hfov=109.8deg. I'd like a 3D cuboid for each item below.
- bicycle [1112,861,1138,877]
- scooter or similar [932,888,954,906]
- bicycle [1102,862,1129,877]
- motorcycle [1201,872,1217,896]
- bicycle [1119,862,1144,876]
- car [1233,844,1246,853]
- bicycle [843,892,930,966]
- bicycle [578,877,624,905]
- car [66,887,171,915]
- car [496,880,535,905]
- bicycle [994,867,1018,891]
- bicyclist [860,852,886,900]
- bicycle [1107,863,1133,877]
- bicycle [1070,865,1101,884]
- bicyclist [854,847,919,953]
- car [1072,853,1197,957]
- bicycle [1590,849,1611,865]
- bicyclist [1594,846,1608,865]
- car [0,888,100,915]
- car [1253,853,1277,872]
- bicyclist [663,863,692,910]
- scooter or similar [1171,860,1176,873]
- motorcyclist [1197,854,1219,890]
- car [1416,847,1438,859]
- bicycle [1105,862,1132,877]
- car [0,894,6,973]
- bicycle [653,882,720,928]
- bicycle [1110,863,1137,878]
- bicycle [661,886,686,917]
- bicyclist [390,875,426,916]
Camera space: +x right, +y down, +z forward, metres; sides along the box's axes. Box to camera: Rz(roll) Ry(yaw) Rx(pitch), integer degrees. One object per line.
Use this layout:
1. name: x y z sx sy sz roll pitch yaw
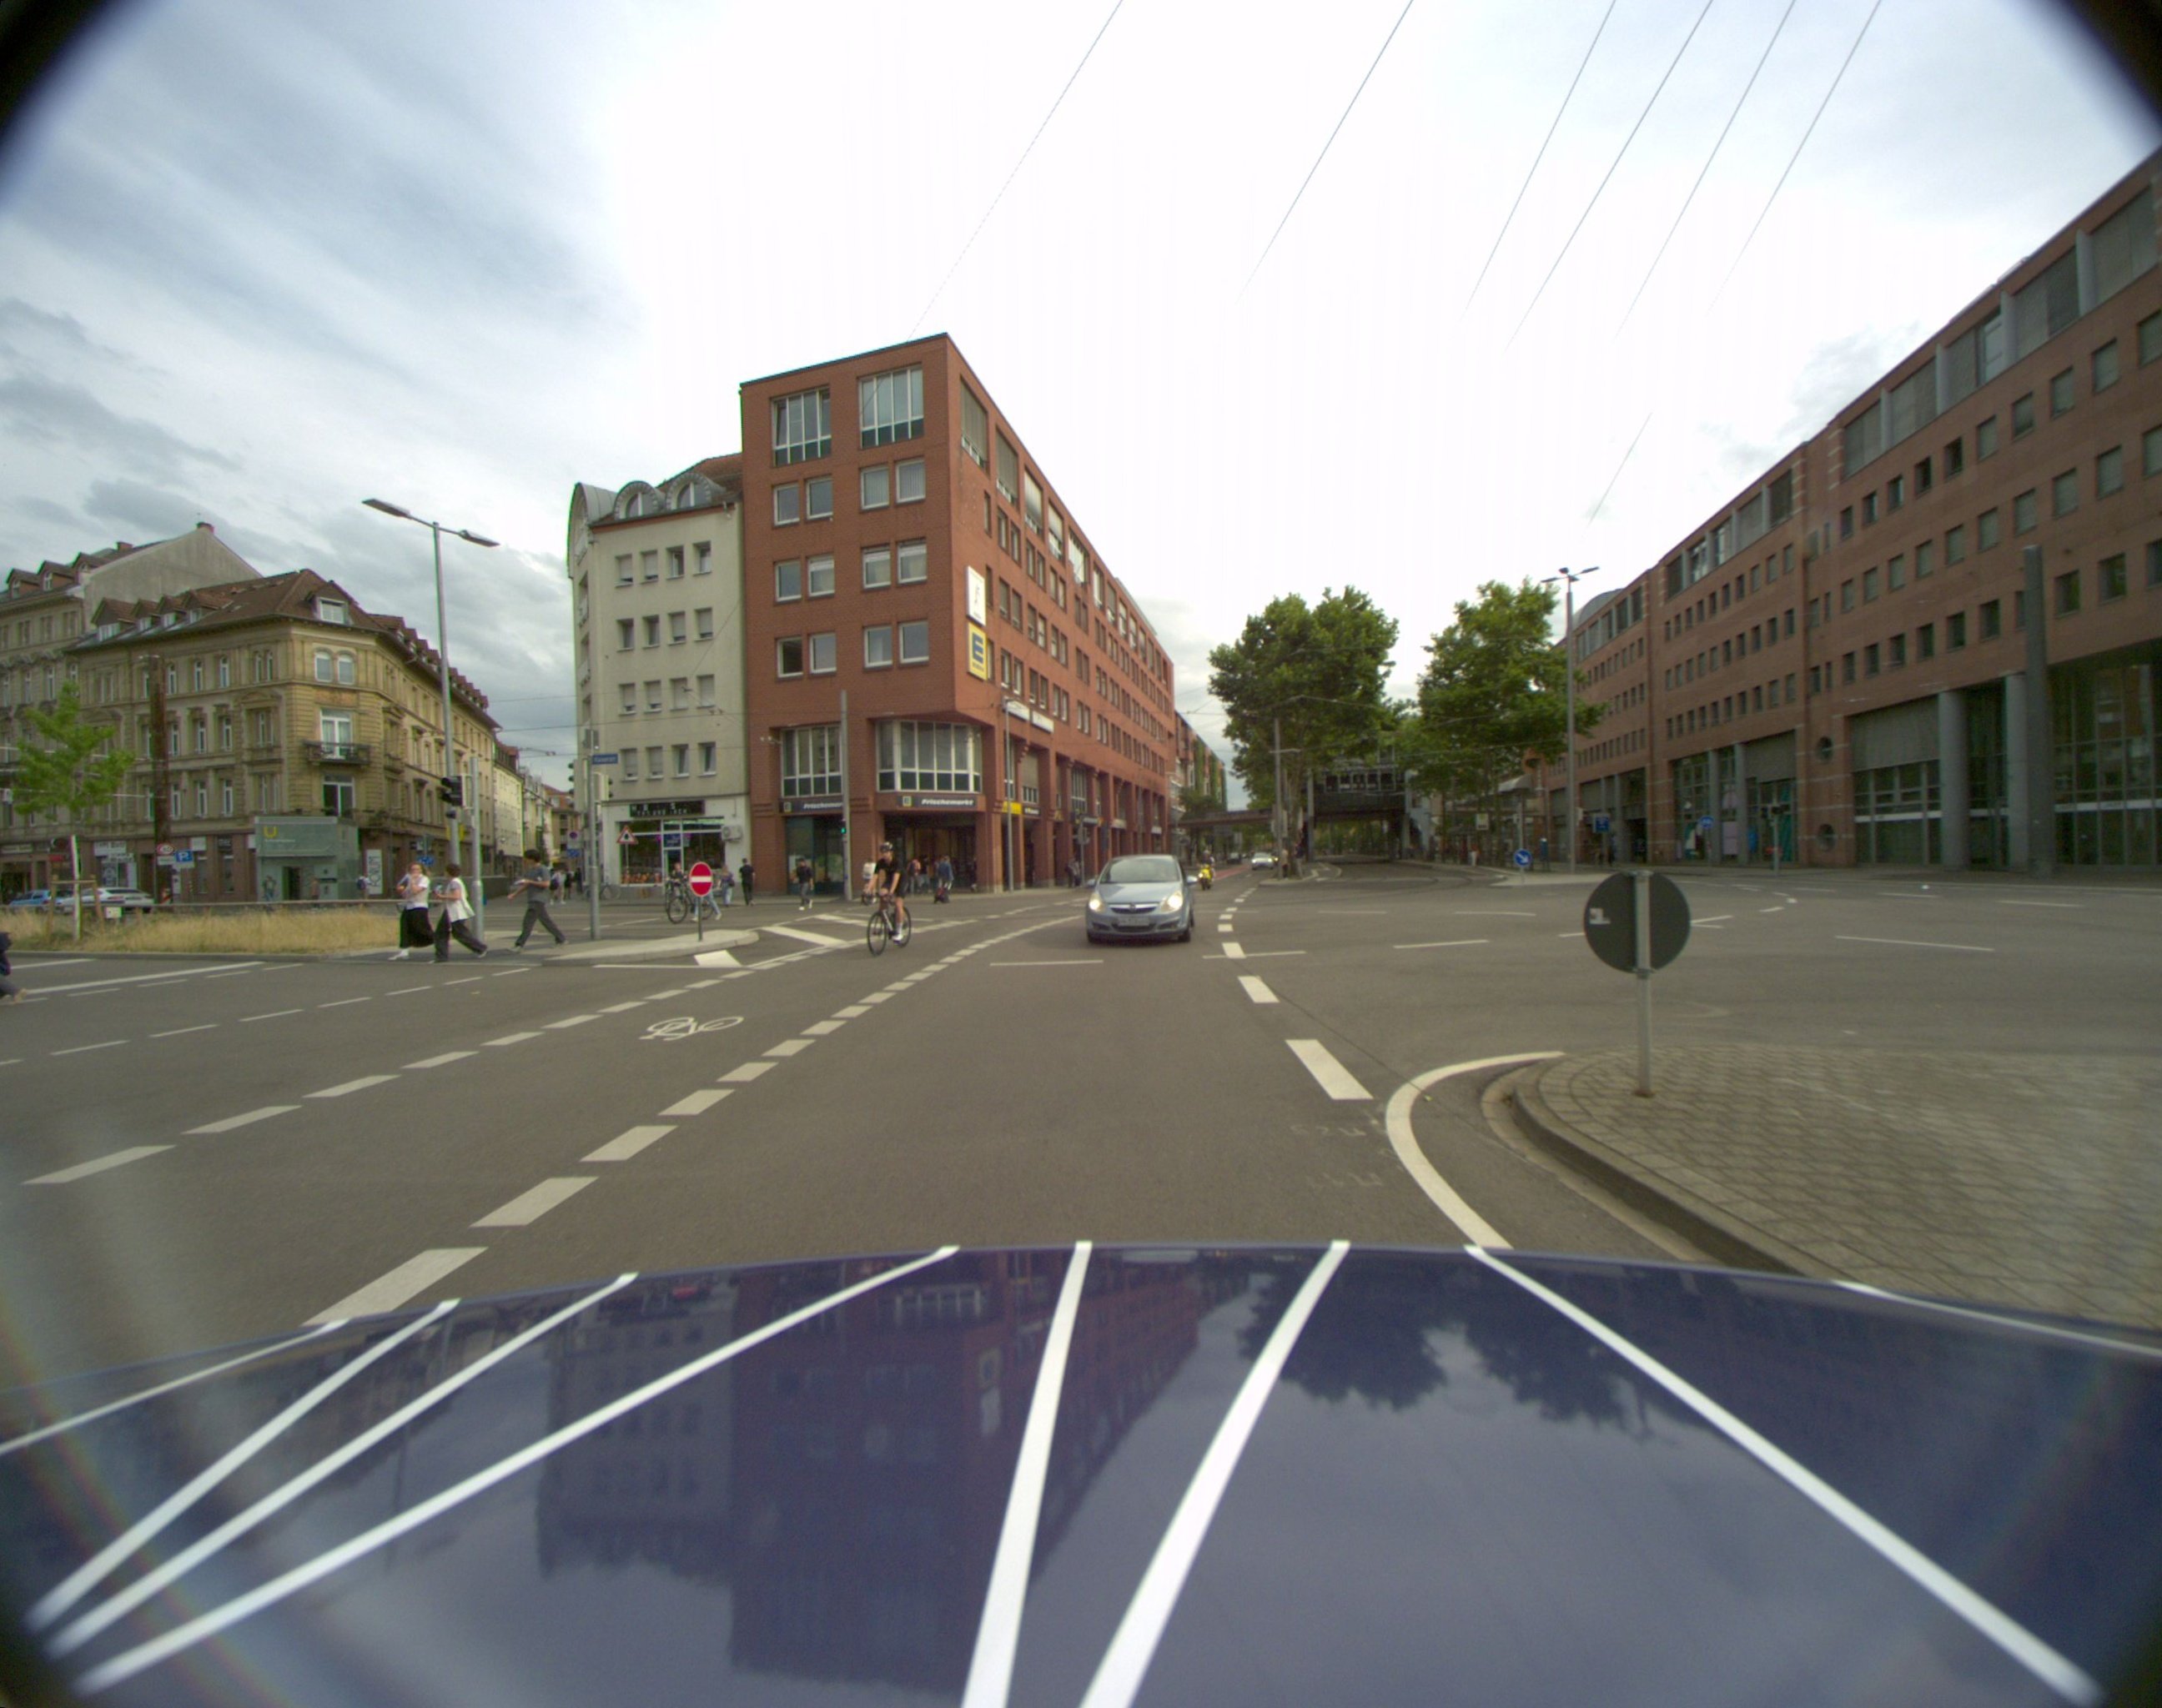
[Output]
1. bicycle: 3.329 1.144 57.955 1.857 1.105 0.535 -1 0 17
2. scooter or similar: -4.949 1.547 27.354 0.507 0.570 0.816 -2 0 9
3. bicycle: 2.480 1.095 55.128 1.857 1.034 0.508 -2 0 17
4. motorcycle: 5.593 1.305 33.257 0.570 0.962 2.015 -2 0 8
5. bicycle: 4.011 1.212 60.412 1.857 1.105 0.535 -1 0 17
6. car: 29.460 -1.058 141.572 1.955 1.592 4.005 -2 0 17
7. bicycle: -3.026 1.146 12.008 0.488 0.994 1.750 -2 0 16
8. bicycle: -21.649 1.673 34.274 1.805 1.197 0.543 -2 0 7
9. car: -49.510 2.429 39.111 4.146 1.259 1.839 -2 0 16
10. car: -39.384 2.642 53.004 1.698 1.577 3.652 -2 0 -30
11. bicycle: -3.645 1.195 36.933 0.566 1.086 1.700 1 2 16
12. bicyclist: -7.630 0.797 27.921 0.642 1.699 0.863 -2 0 3
13. bicycle: 2.876 1.185 56.394 1.857 1.034 0.535 -1 0 17
14. bicycle: 0.274 1.269 47.155 1.867 1.078 0.628 -1 1 -34
15. bicyclist: -3.032 0.689 11.918 0.612 1.594 0.848 -1 1 16
16. car: 1.110 0.792 13.567 1.722 1.395 4.002 -4 1 10
17. bicycle: 37.848 0.190 55.346 0.547 1.111 1.590 -2 0 4
18. bicyclist: 37.846 0.097 55.325 0.551 1.373 0.738 -2 1 5
19. car: -55.586 2.555 40.939 4.146 1.259 1.839 -2 0 16
20. car: 17.469 0.768 71.970 1.955 1.592 4.005 -2 0 17
21. bicyclist: -13.862 1.100 26.130 0.747 1.549 0.944 -2 0 -22
22. scooter or similar: 9.456 1.264 77.445 0.272 1.250 0.922 -2 0 17
23. motorcyclist: 5.569 0.775 33.443 0.871 1.508 1.044 -2 0 7
24. car: 43.584 -0.146 95.735 1.865 1.464 4.301 -2 0 15
25. bicycle: 2.739 1.115 55.839 1.857 1.034 0.535 -1 0 17
26. car: -22.810 1.574 14.045 4.594 1.503 2.002 -2 2 17
27. bicycle: -10.639 1.350 20.540 0.397 1.104 1.832 -2 0 17
28. bicycle: 3.191 1.239 57.012 1.857 1.034 0.535 -1 0 17
29. bicycle: -13.933 1.609 25.991 0.544 0.945 1.804 -2 0 -23
30. bicyclist: -26.644 1.637 30.082 0.861 1.594 0.643 -2 0 10
